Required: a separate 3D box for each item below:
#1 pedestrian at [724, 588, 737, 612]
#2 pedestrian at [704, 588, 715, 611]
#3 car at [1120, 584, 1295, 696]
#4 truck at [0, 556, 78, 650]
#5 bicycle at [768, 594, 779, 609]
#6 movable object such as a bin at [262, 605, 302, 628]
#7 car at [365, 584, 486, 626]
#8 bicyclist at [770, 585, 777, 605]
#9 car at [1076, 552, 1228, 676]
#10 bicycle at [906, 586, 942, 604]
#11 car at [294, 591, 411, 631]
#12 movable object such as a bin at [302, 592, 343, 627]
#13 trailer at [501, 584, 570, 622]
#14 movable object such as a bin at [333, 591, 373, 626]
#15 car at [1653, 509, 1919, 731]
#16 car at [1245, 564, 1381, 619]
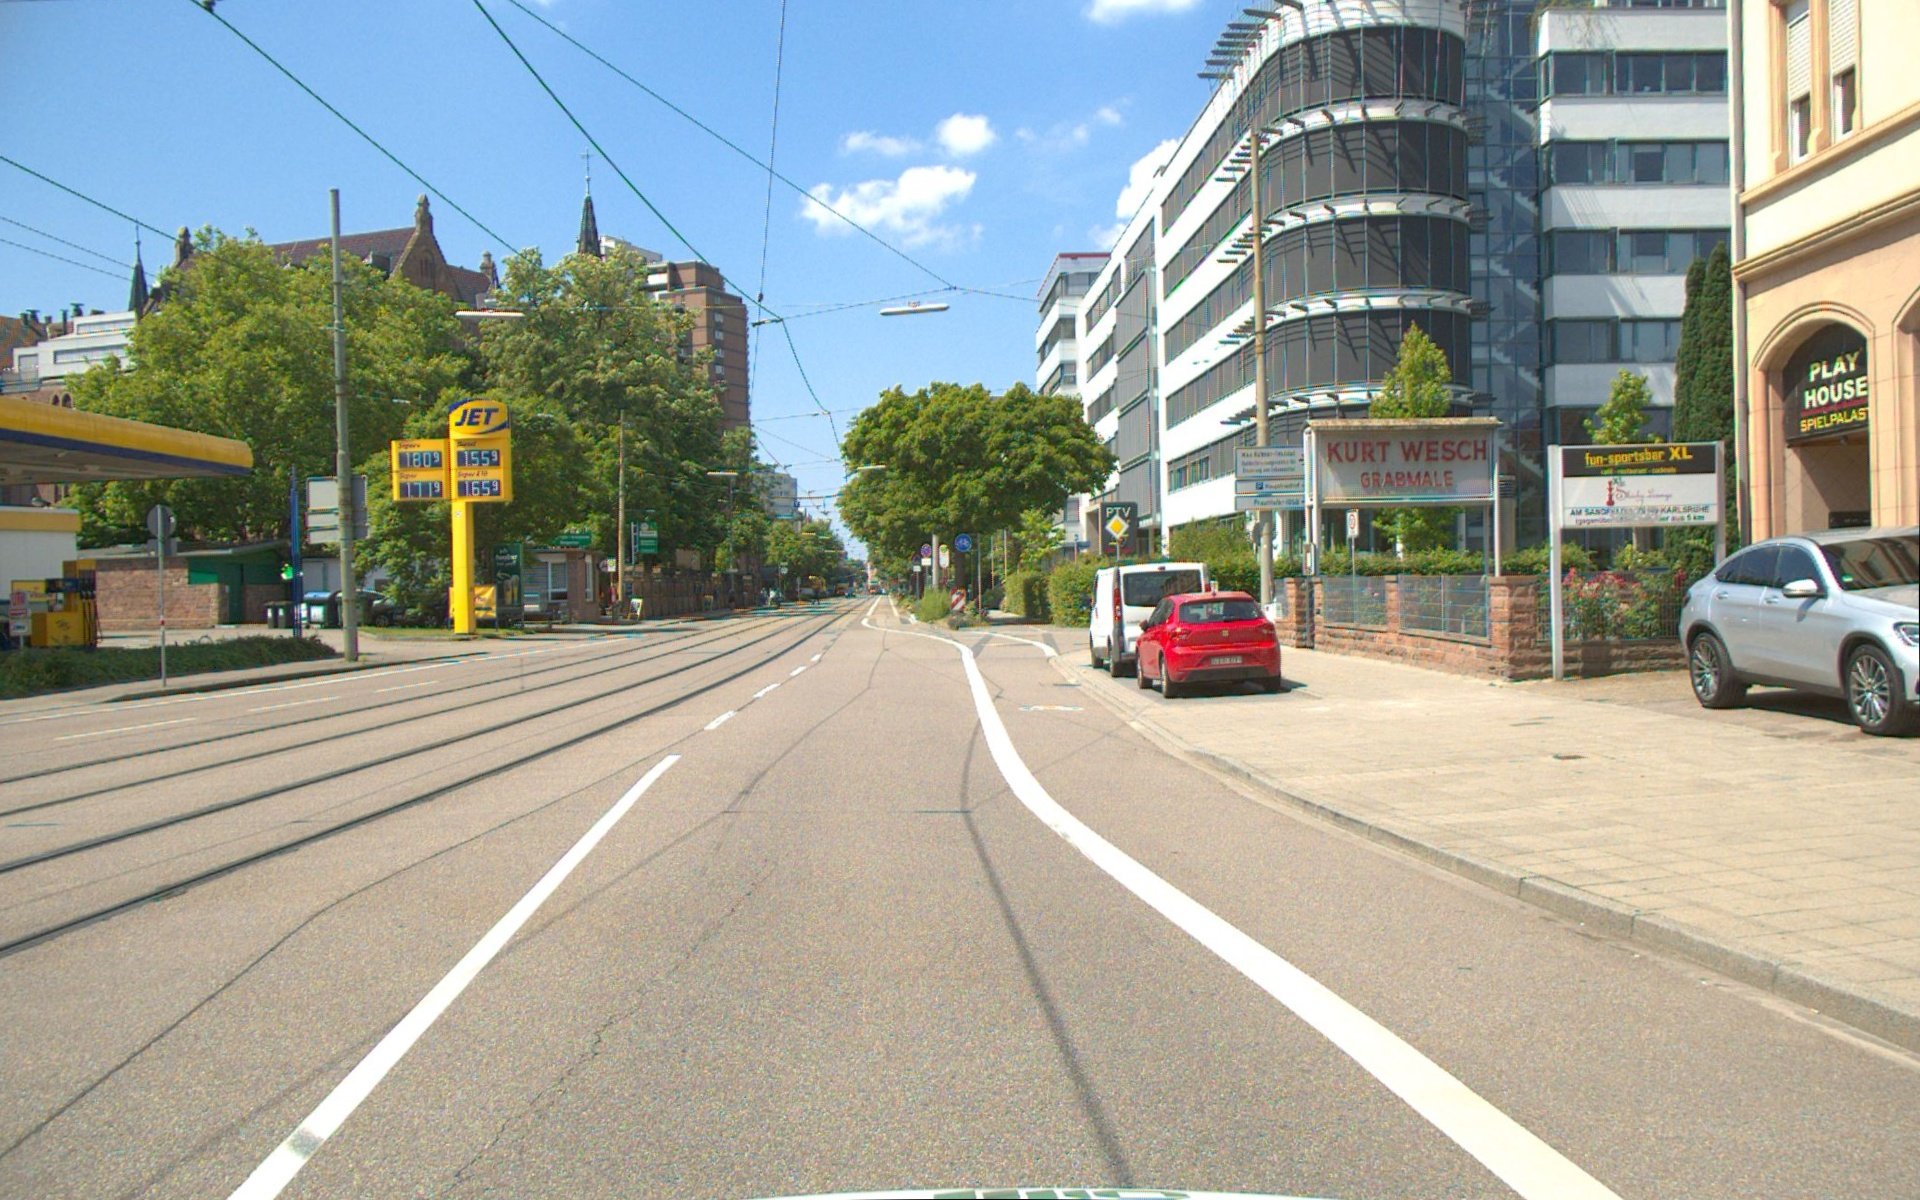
[{"bbox_3d":[-17.123,-0.019,123.410,0.798,1.801,0.924,-1,0,-3],"label":"pedestrian"},{"bbox_3d":[-19.148,-0.035,126.419,0.728,1.758,0.867,-1,0,-3],"label":"pedestrian"},{"bbox_3d":[3.624,0.529,24.891,1.953,1.467,4.016,-2,1,-1],"label":"car"},{"bbox_3d":[-26.927,0.108,44.744,1.955,2.541,5.197,-1,0,28],"label":"truck"},{"bbox_3d":[-16.537,0.138,146.724,0.687,1.224,2.239,-3,0,-3],"label":"bicycle"},{"bbox_3d":[-27.569,0.672,67.299,1.316,0.888,0.759,-1,0,17],"label":"movable object such as a bin"},{"bbox_3d":[-21.800,0.174,67.544,1.964,1.618,4.309,-1,1,41],"label":"car"},{"bbox_3d":[-16.552,-0.450,146.794,0.629,1.709,0.814,-1,0,-5],"label":"bicyclist"},{"bbox_3d":[3.526,0.214,31.480,1.954,2.026,5.512,-3,1,-2],"label":"car"},{"bbox_3d":[-2.542,-0.336,115.497,2.459,1.231,0.648,-1,0,1],"label":"bicycle"},{"bbox_3d":[-25.984,0.443,70.839,1.878,1.620,4.304,-1,0,44],"label":"car"},{"bbox_3d":[-25.771,0.387,66.849,1.315,1.378,0.759,-1,0,9],"label":"movable object such as a bin"},{"bbox_3d":[-19.686,0.134,76.762,2.773,1.733,1.620,-1,0,-2],"label":"trailer"},{"bbox_3d":[-24.249,0.342,66.126,1.318,1.378,0.757,-1,0,-5],"label":"movable object such as a bin"},{"bbox_3d":[8.057,0.068,14.612,1.840,1.652,4.639,-4,0,0],"label":"car"},{"bbox_3d":[10.266,-0.257,48.207,3.528,1.476,1.758,-1,1,-3],"label":"car"}]
